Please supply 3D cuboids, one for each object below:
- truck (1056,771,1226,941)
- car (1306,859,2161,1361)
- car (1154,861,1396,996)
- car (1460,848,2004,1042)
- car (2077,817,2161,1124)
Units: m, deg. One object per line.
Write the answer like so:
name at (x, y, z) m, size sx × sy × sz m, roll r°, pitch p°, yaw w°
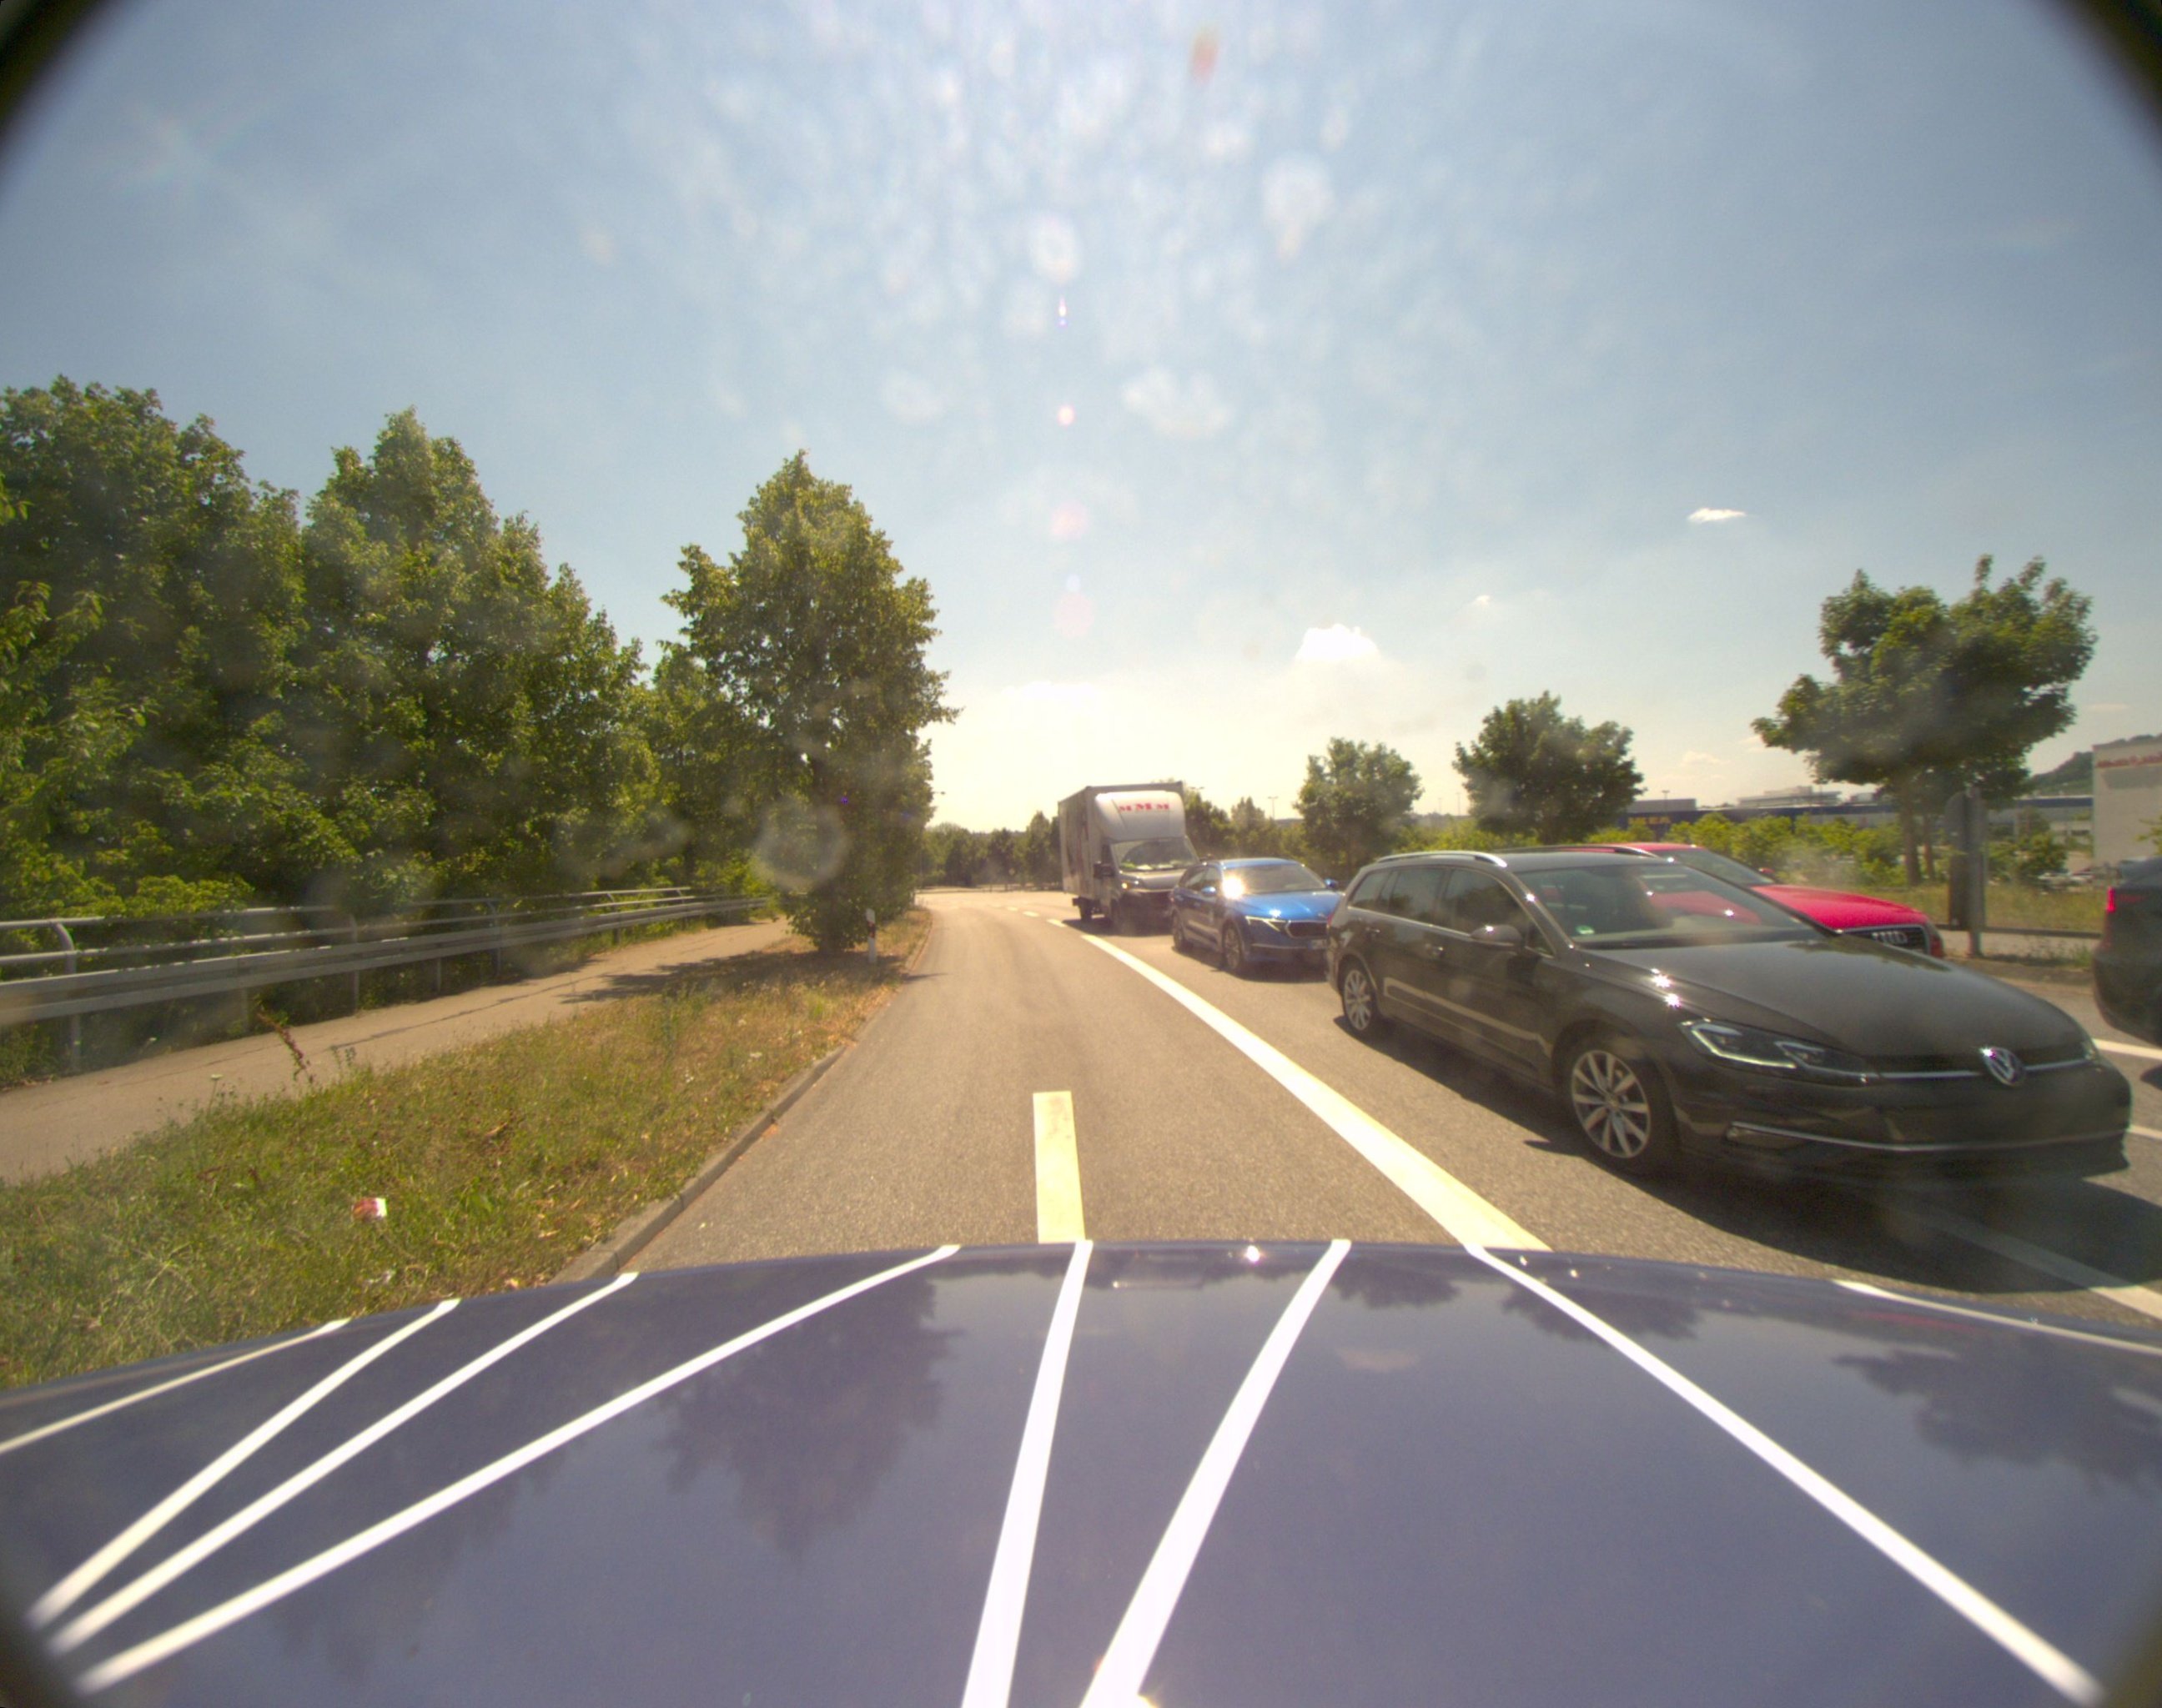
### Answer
truck at (1.106, 0.110, 18.788) m, size 2.416 × 3.327 × 7.198 m, roll -2°, pitch -1°, yaw -9°
car at (3.088, 0.821, 4.656) m, size 1.783 × 1.474 × 4.427 m, roll -2°, pitch 0°, yaw -4°
car at (2.472, 0.888, 10.985) m, size 1.713 × 1.454 × 4.486 m, roll -3°, pitch -1°, yaw -9°
car at (6.116, 0.677, 8.030) m, size 1.665 × 1.380 × 4.447 m, roll -3°, pitch 1°, yaw -5°
car at (6.683, 0.586, 2.075) m, size 1.880 × 1.591 × 4.503 m, roll -2°, pitch 1°, yaw -5°
